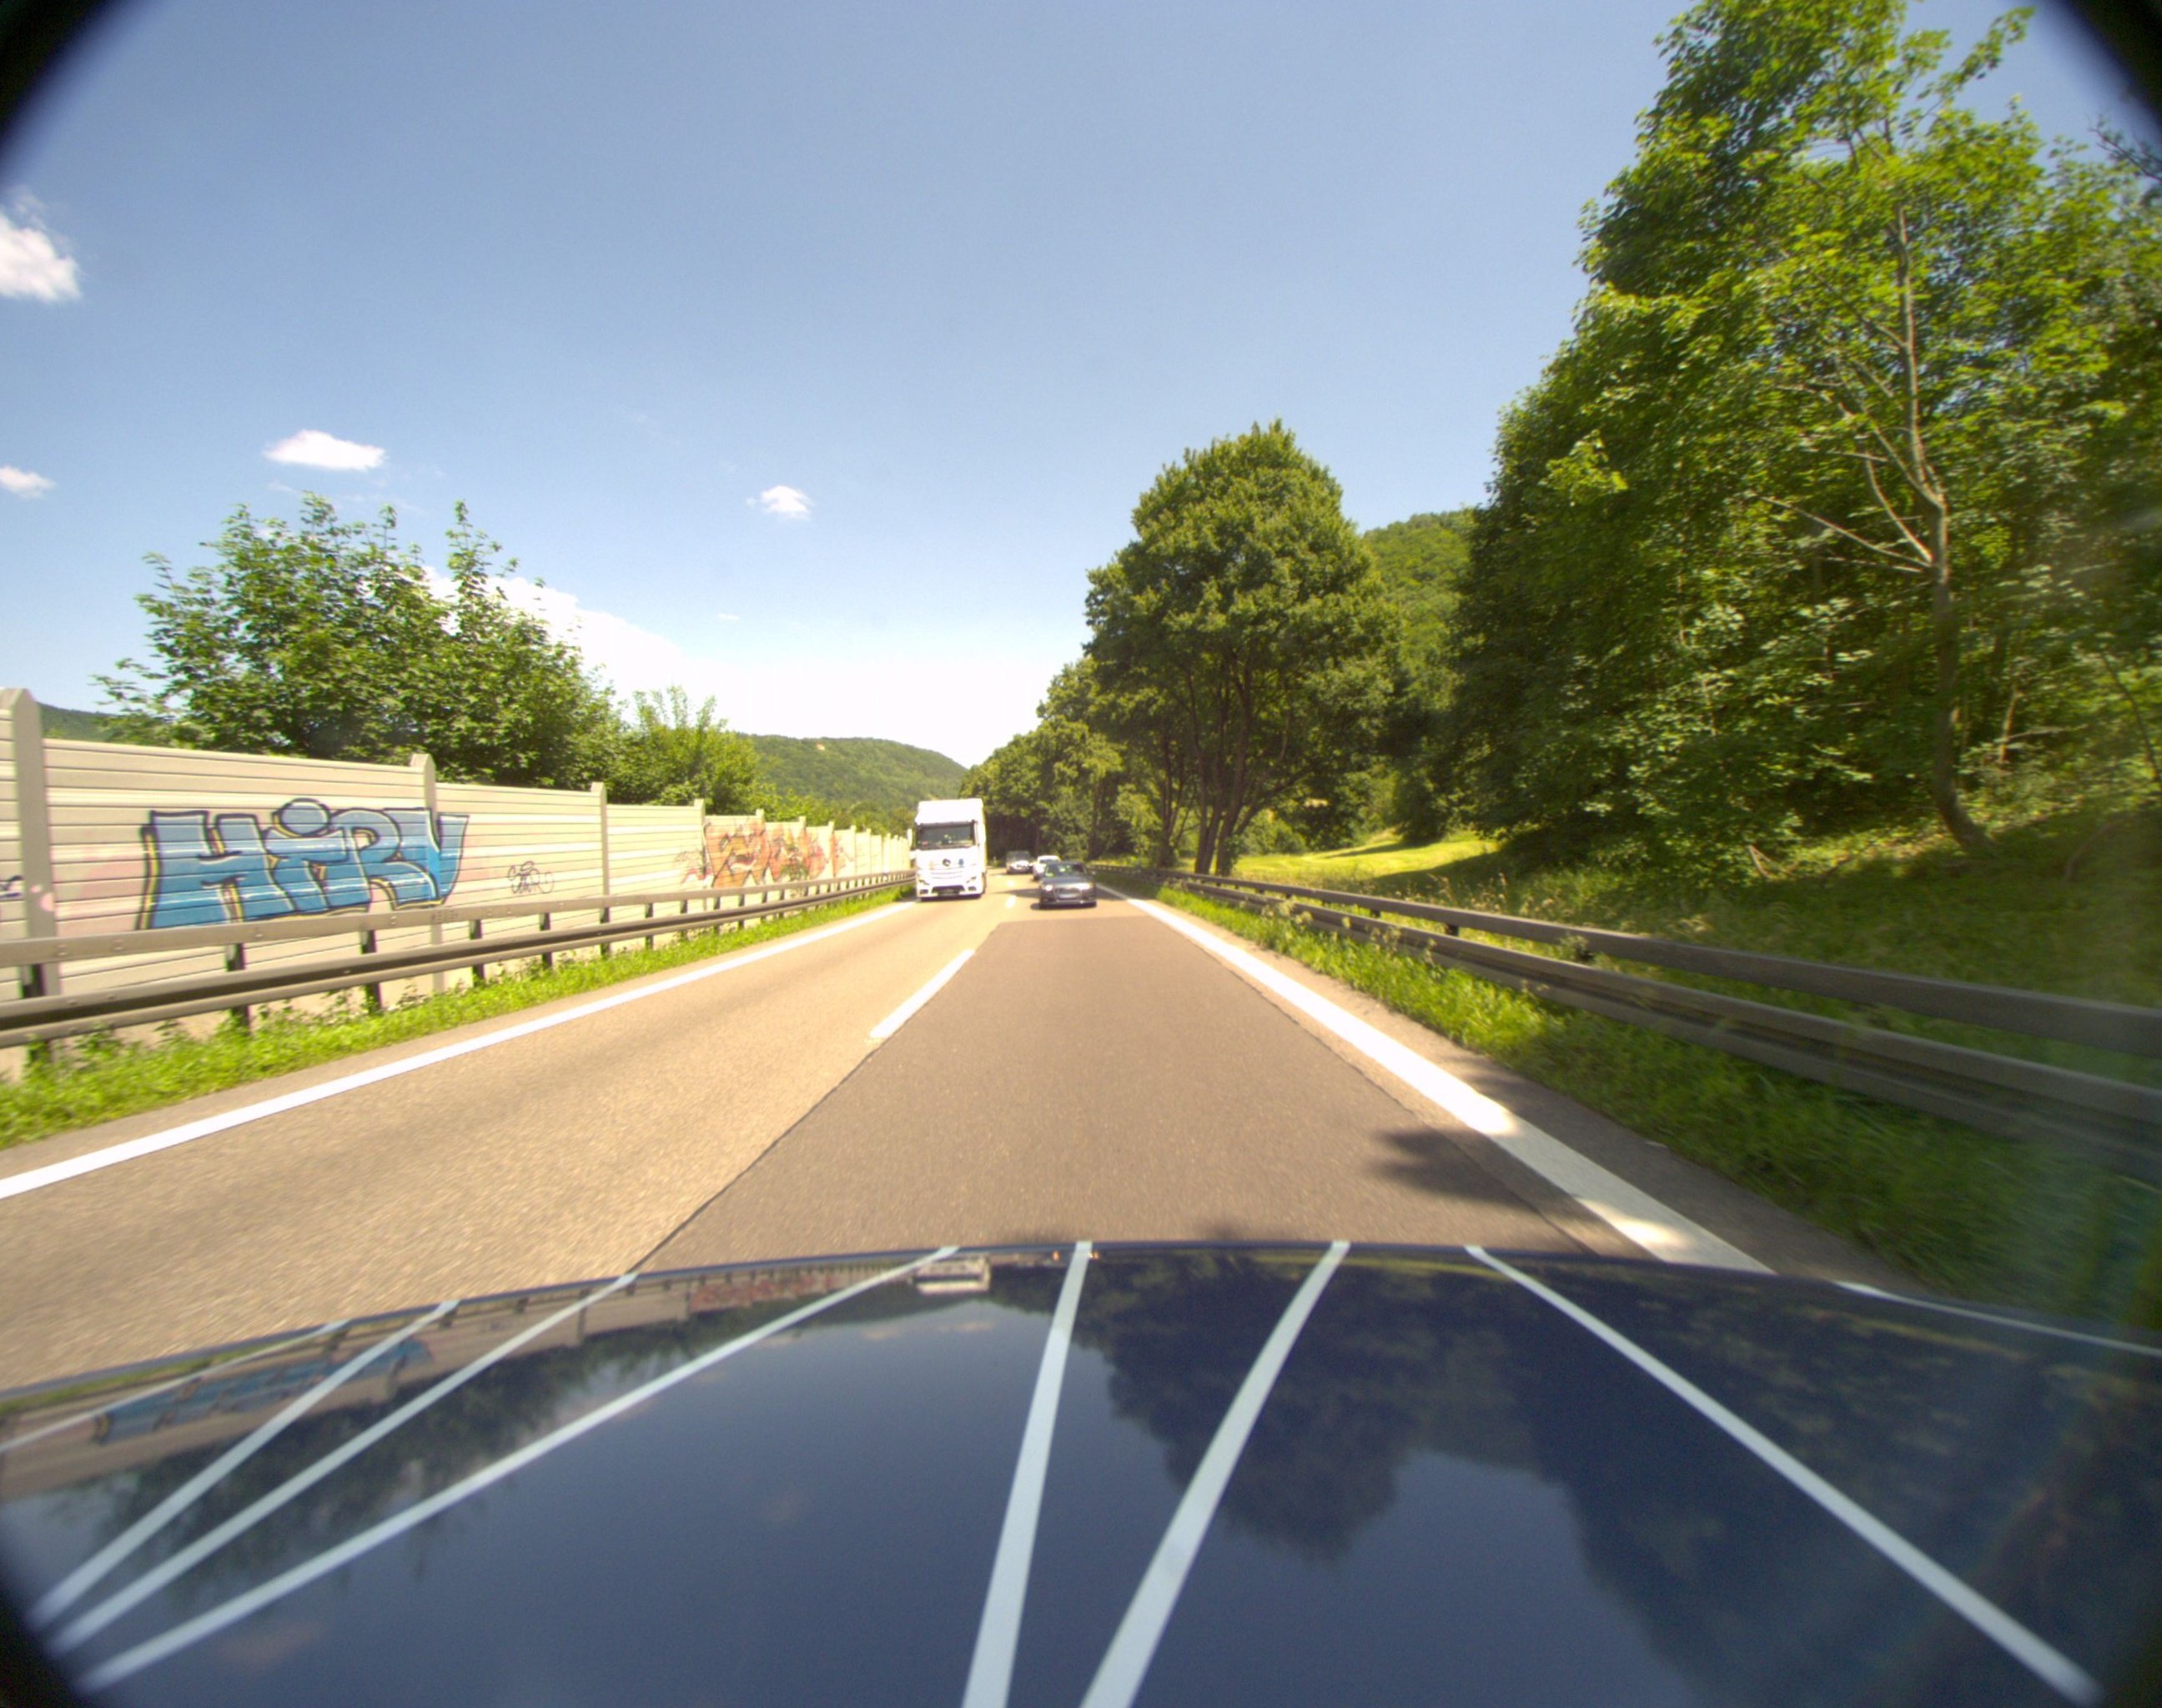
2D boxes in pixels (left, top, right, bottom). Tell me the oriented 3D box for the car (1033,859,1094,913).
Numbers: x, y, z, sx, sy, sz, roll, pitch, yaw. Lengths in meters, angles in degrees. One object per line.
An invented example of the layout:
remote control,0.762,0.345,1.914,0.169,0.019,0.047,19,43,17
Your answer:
car,-0.499,0.916,23.236,1.662,1.435,3.474,-2,1,0

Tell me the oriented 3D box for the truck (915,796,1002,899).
truck,-5.653,-0.303,37.209,2.862,4.124,12.042,-2,0,-4

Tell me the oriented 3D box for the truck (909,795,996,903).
truck,-5.281,-0.215,32.304,2.765,4.015,6.821,-2,0,-3

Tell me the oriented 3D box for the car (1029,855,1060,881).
car,-2.338,0.845,47.833,1.716,1.541,3.998,-2,0,-6

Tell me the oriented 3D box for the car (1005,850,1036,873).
car,-5.111,0.632,63.353,2.045,1.855,3.996,-1,0,-12
